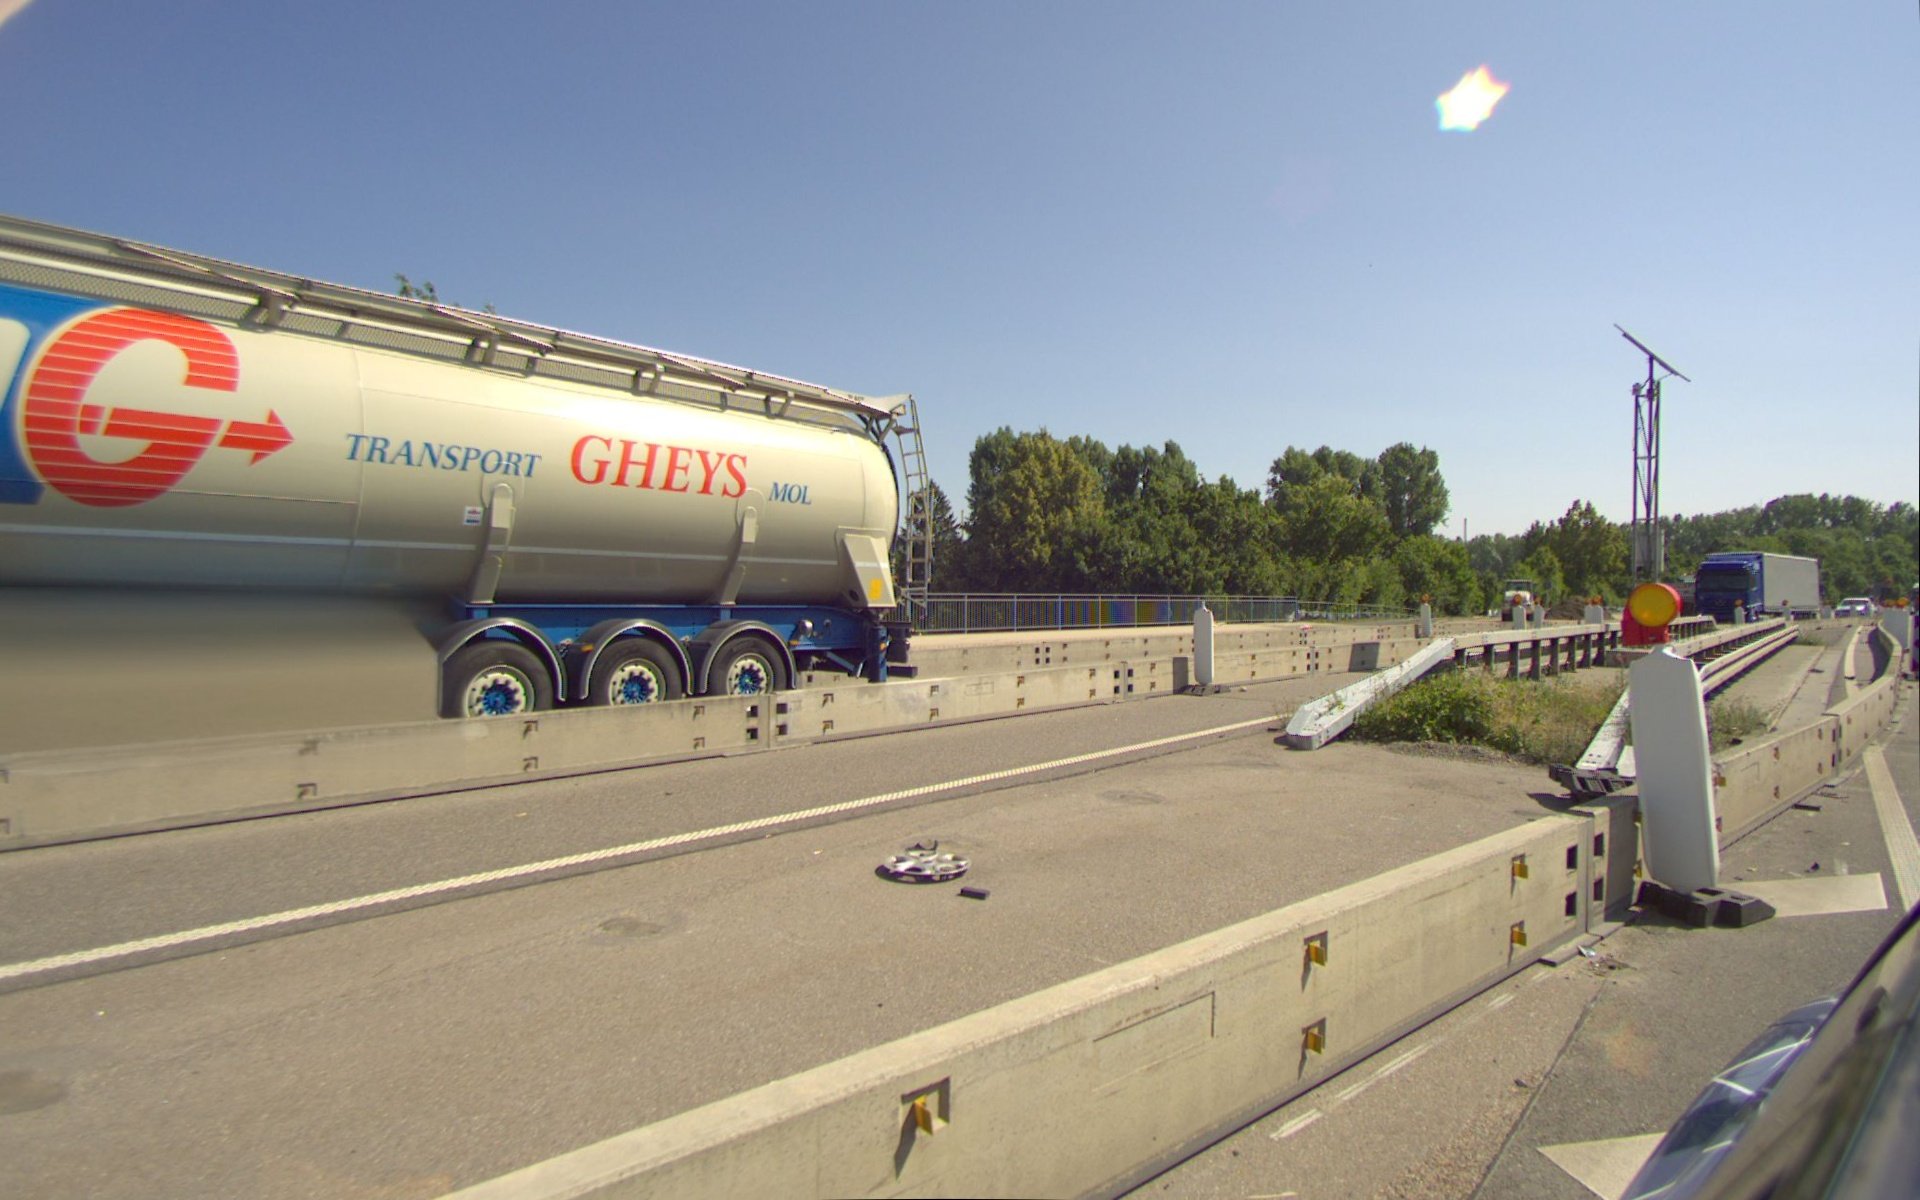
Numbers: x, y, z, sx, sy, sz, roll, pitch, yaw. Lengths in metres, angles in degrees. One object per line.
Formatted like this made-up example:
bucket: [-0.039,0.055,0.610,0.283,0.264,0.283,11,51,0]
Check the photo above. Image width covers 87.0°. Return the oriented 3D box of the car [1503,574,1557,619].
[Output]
car: [36.099,-0.242,64.031,2.100,2.675,5.903,1,1,38]

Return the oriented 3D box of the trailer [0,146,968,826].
trailer: [-5.110,-0.742,9.102,2.694,4.189,12.418,1,1,43]

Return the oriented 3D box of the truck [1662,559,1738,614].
truck: [49.523,-0.906,67.634,8.588,3.475,2.602,0,1,-43]

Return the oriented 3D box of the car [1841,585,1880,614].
car: [66.037,-0.069,74.229,1.994,2.039,3.937,1,1,44]

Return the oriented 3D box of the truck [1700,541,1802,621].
truck: [42.870,-1.010,54.738,8.517,4.034,2.858,0,1,-42]
